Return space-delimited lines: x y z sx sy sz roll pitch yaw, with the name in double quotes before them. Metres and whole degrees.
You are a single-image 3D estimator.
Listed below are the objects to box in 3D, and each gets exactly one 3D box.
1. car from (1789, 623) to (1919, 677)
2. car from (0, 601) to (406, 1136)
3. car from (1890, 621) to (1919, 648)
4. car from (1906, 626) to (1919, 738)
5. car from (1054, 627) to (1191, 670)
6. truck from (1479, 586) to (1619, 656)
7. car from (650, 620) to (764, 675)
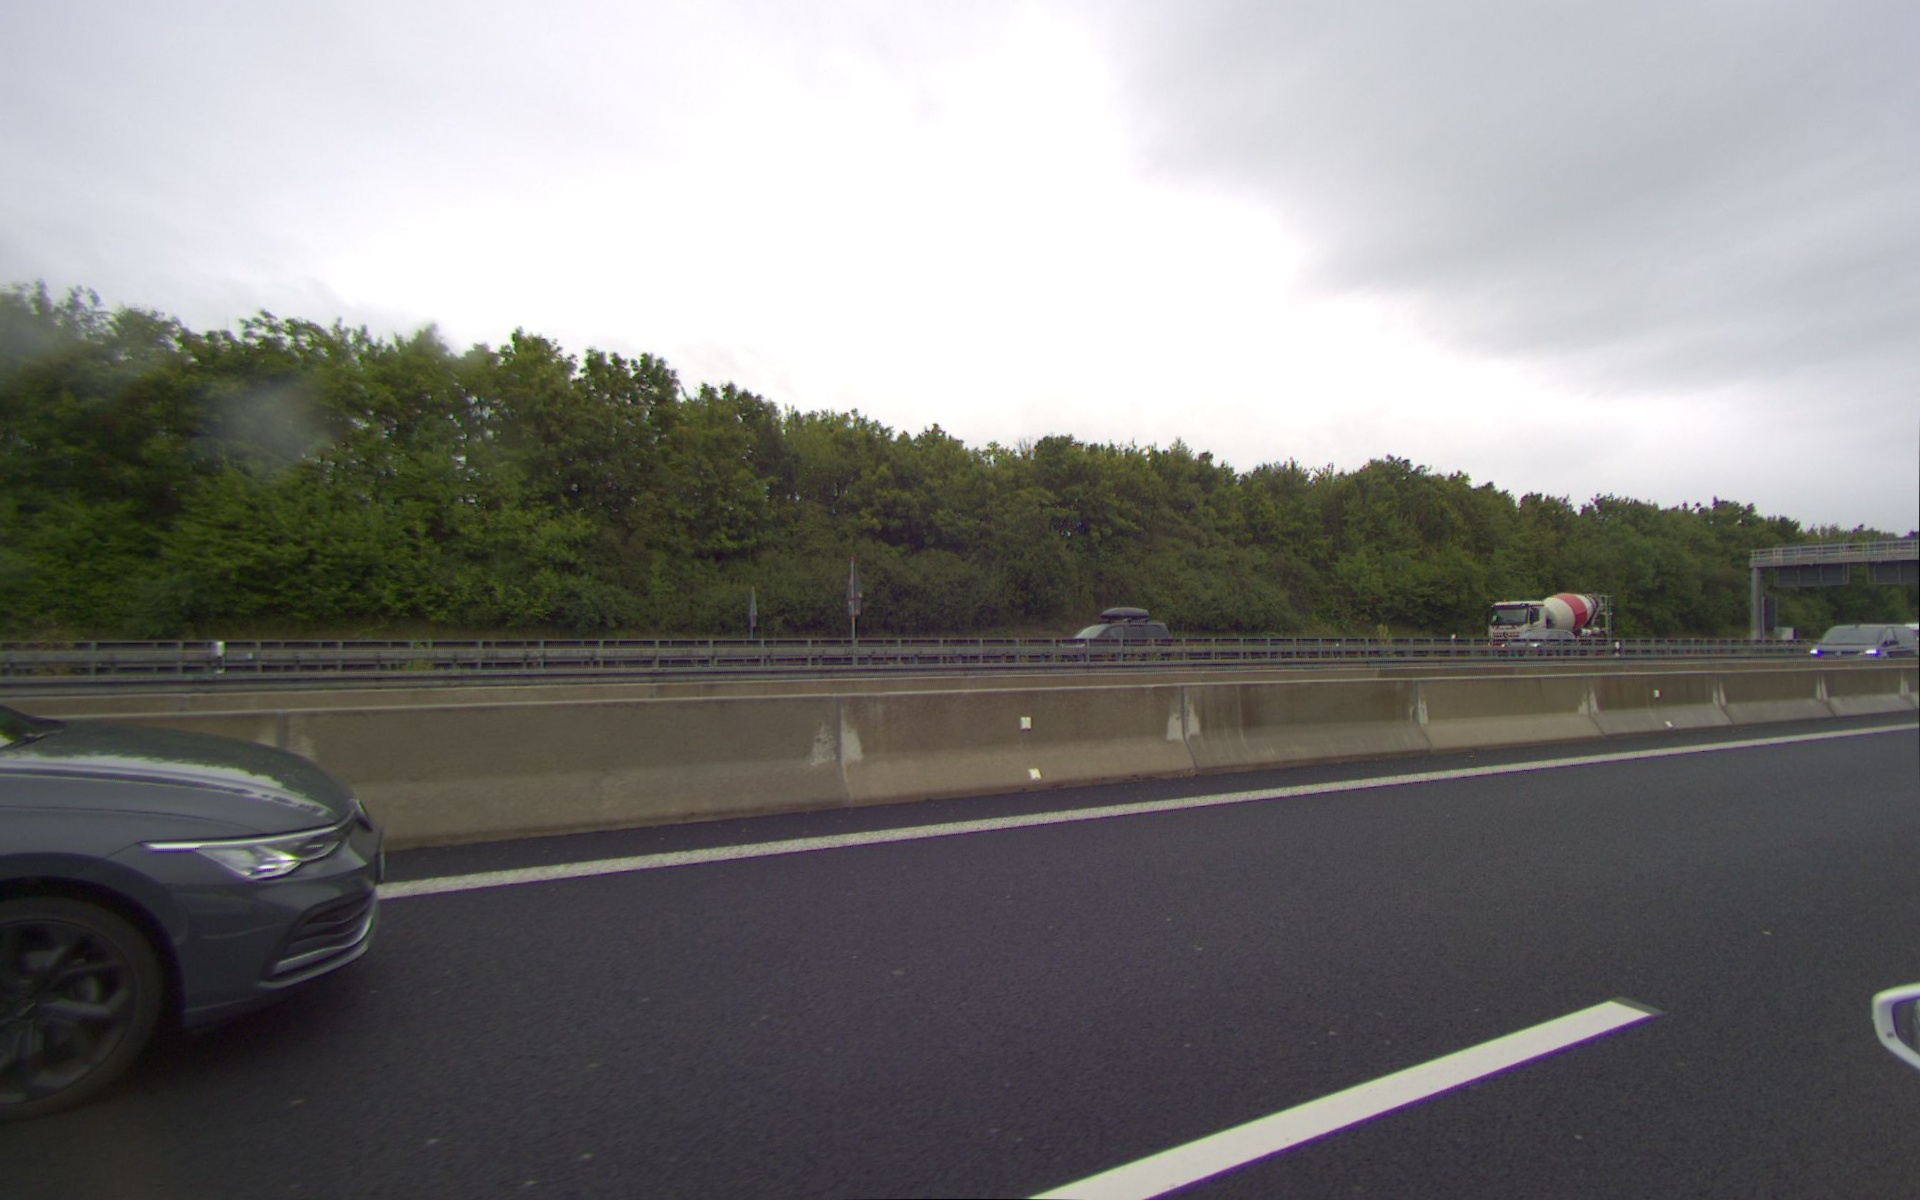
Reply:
"car" 30.880 1.691 34.662 4.970 1.672 1.983 1 0 -32
"car" -4.101 0.715 2.918 4.317 1.444 1.821 1 0 -31
"car" 81.981 2.949 85.987 5.649 2.243 1.984 1 -1 -31
"car" 15.180 1.147 13.924 4.746 1.478 1.778 1 0 -31
"car" 5.799 1.681 35.667 4.620 1.425 1.984 1 -1 -30
"truck" 33.216 1.235 56.493 9.449 3.709 2.672 1 -1 -31
"car" -9.796 1.813 38.967 3.952 2.040 1.742 1 -1 -29
